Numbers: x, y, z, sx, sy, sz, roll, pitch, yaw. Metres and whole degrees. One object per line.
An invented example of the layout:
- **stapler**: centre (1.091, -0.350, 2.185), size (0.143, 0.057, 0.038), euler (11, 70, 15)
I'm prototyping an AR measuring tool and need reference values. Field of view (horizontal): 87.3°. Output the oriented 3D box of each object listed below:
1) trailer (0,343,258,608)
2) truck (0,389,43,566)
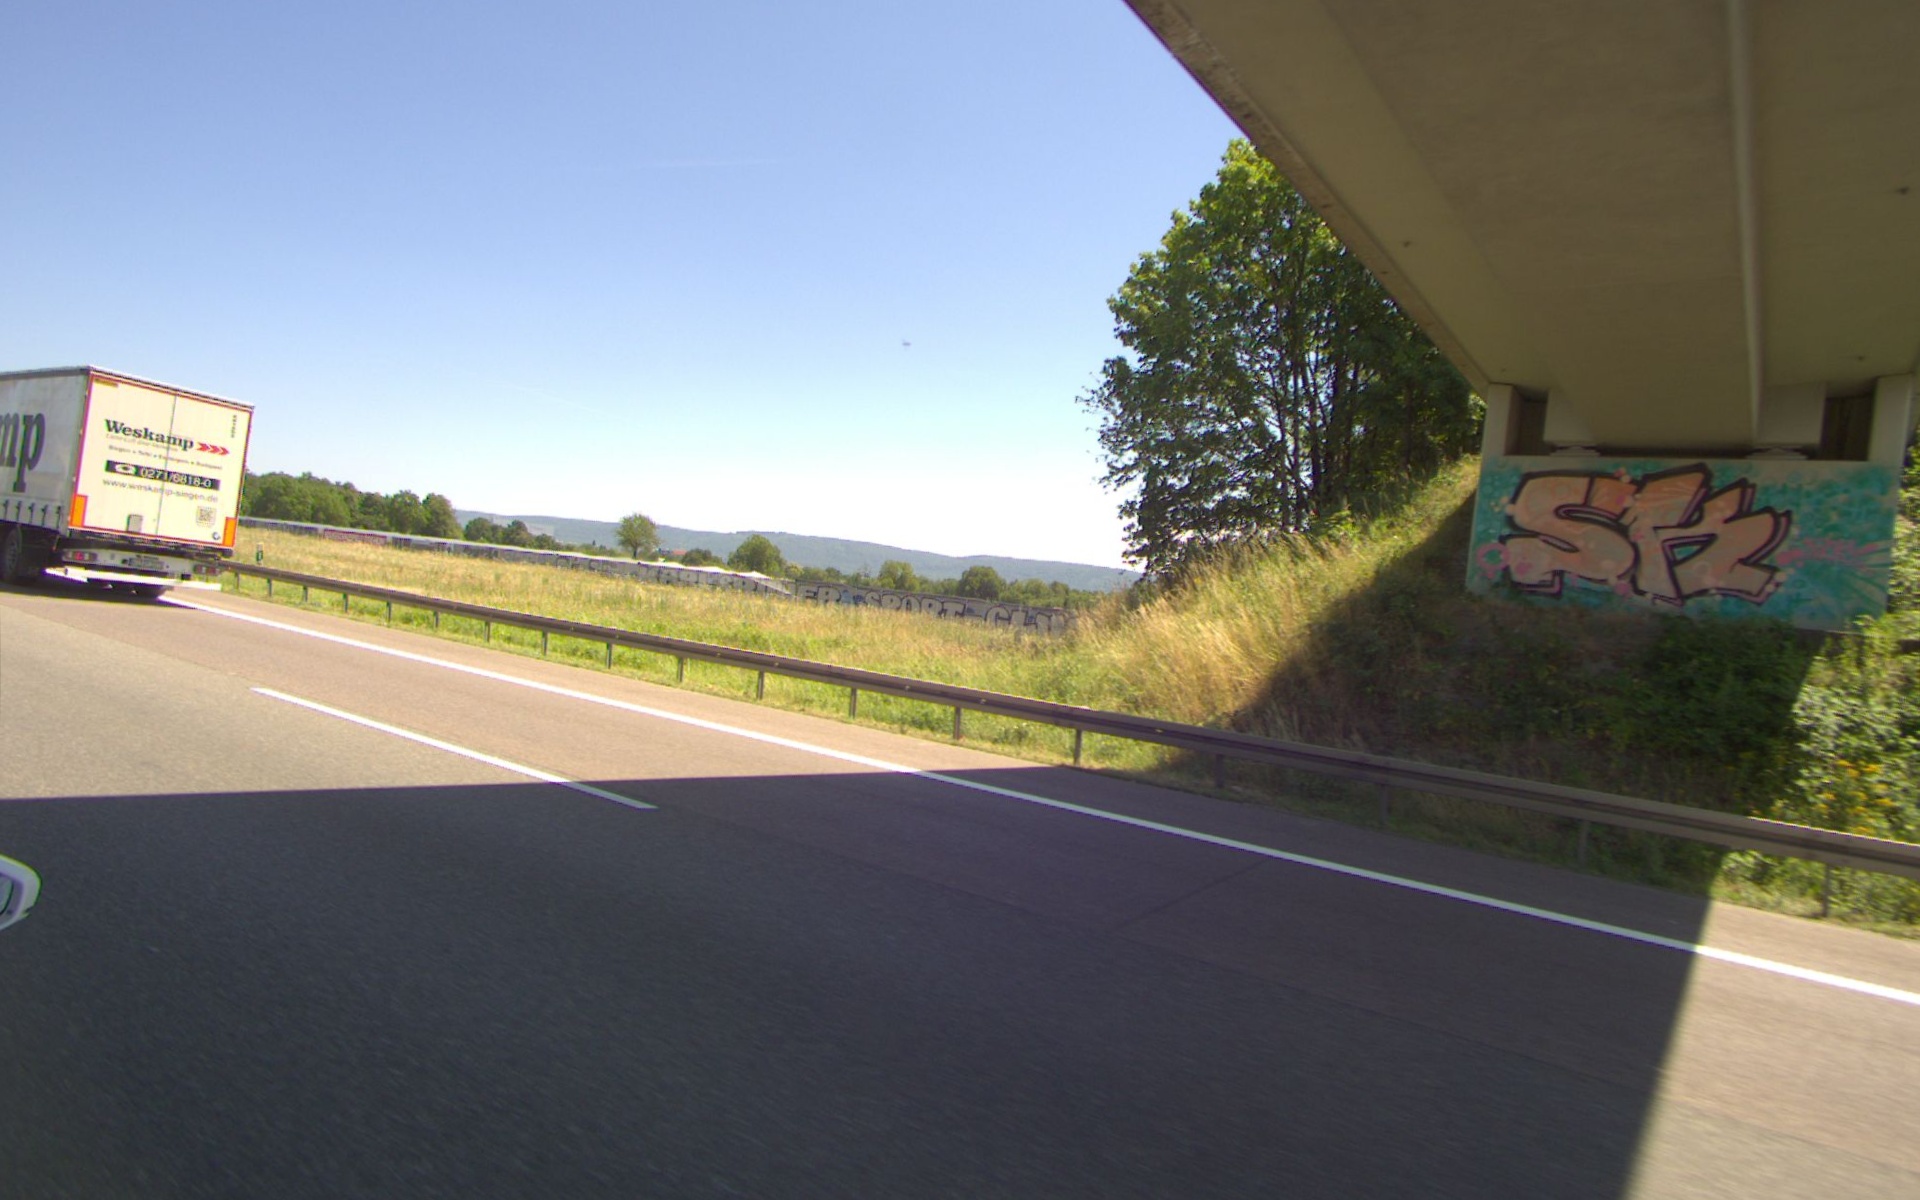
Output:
- **trailer**: centre (-20.054, -2.693, 21.809), size (13.417, 4.301, 2.600), euler (6, -1, 32)
- **truck**: centre (-26.357, -3.368, 25.818), size (5.006, 4.306, 2.604), euler (7, -1, 33)
